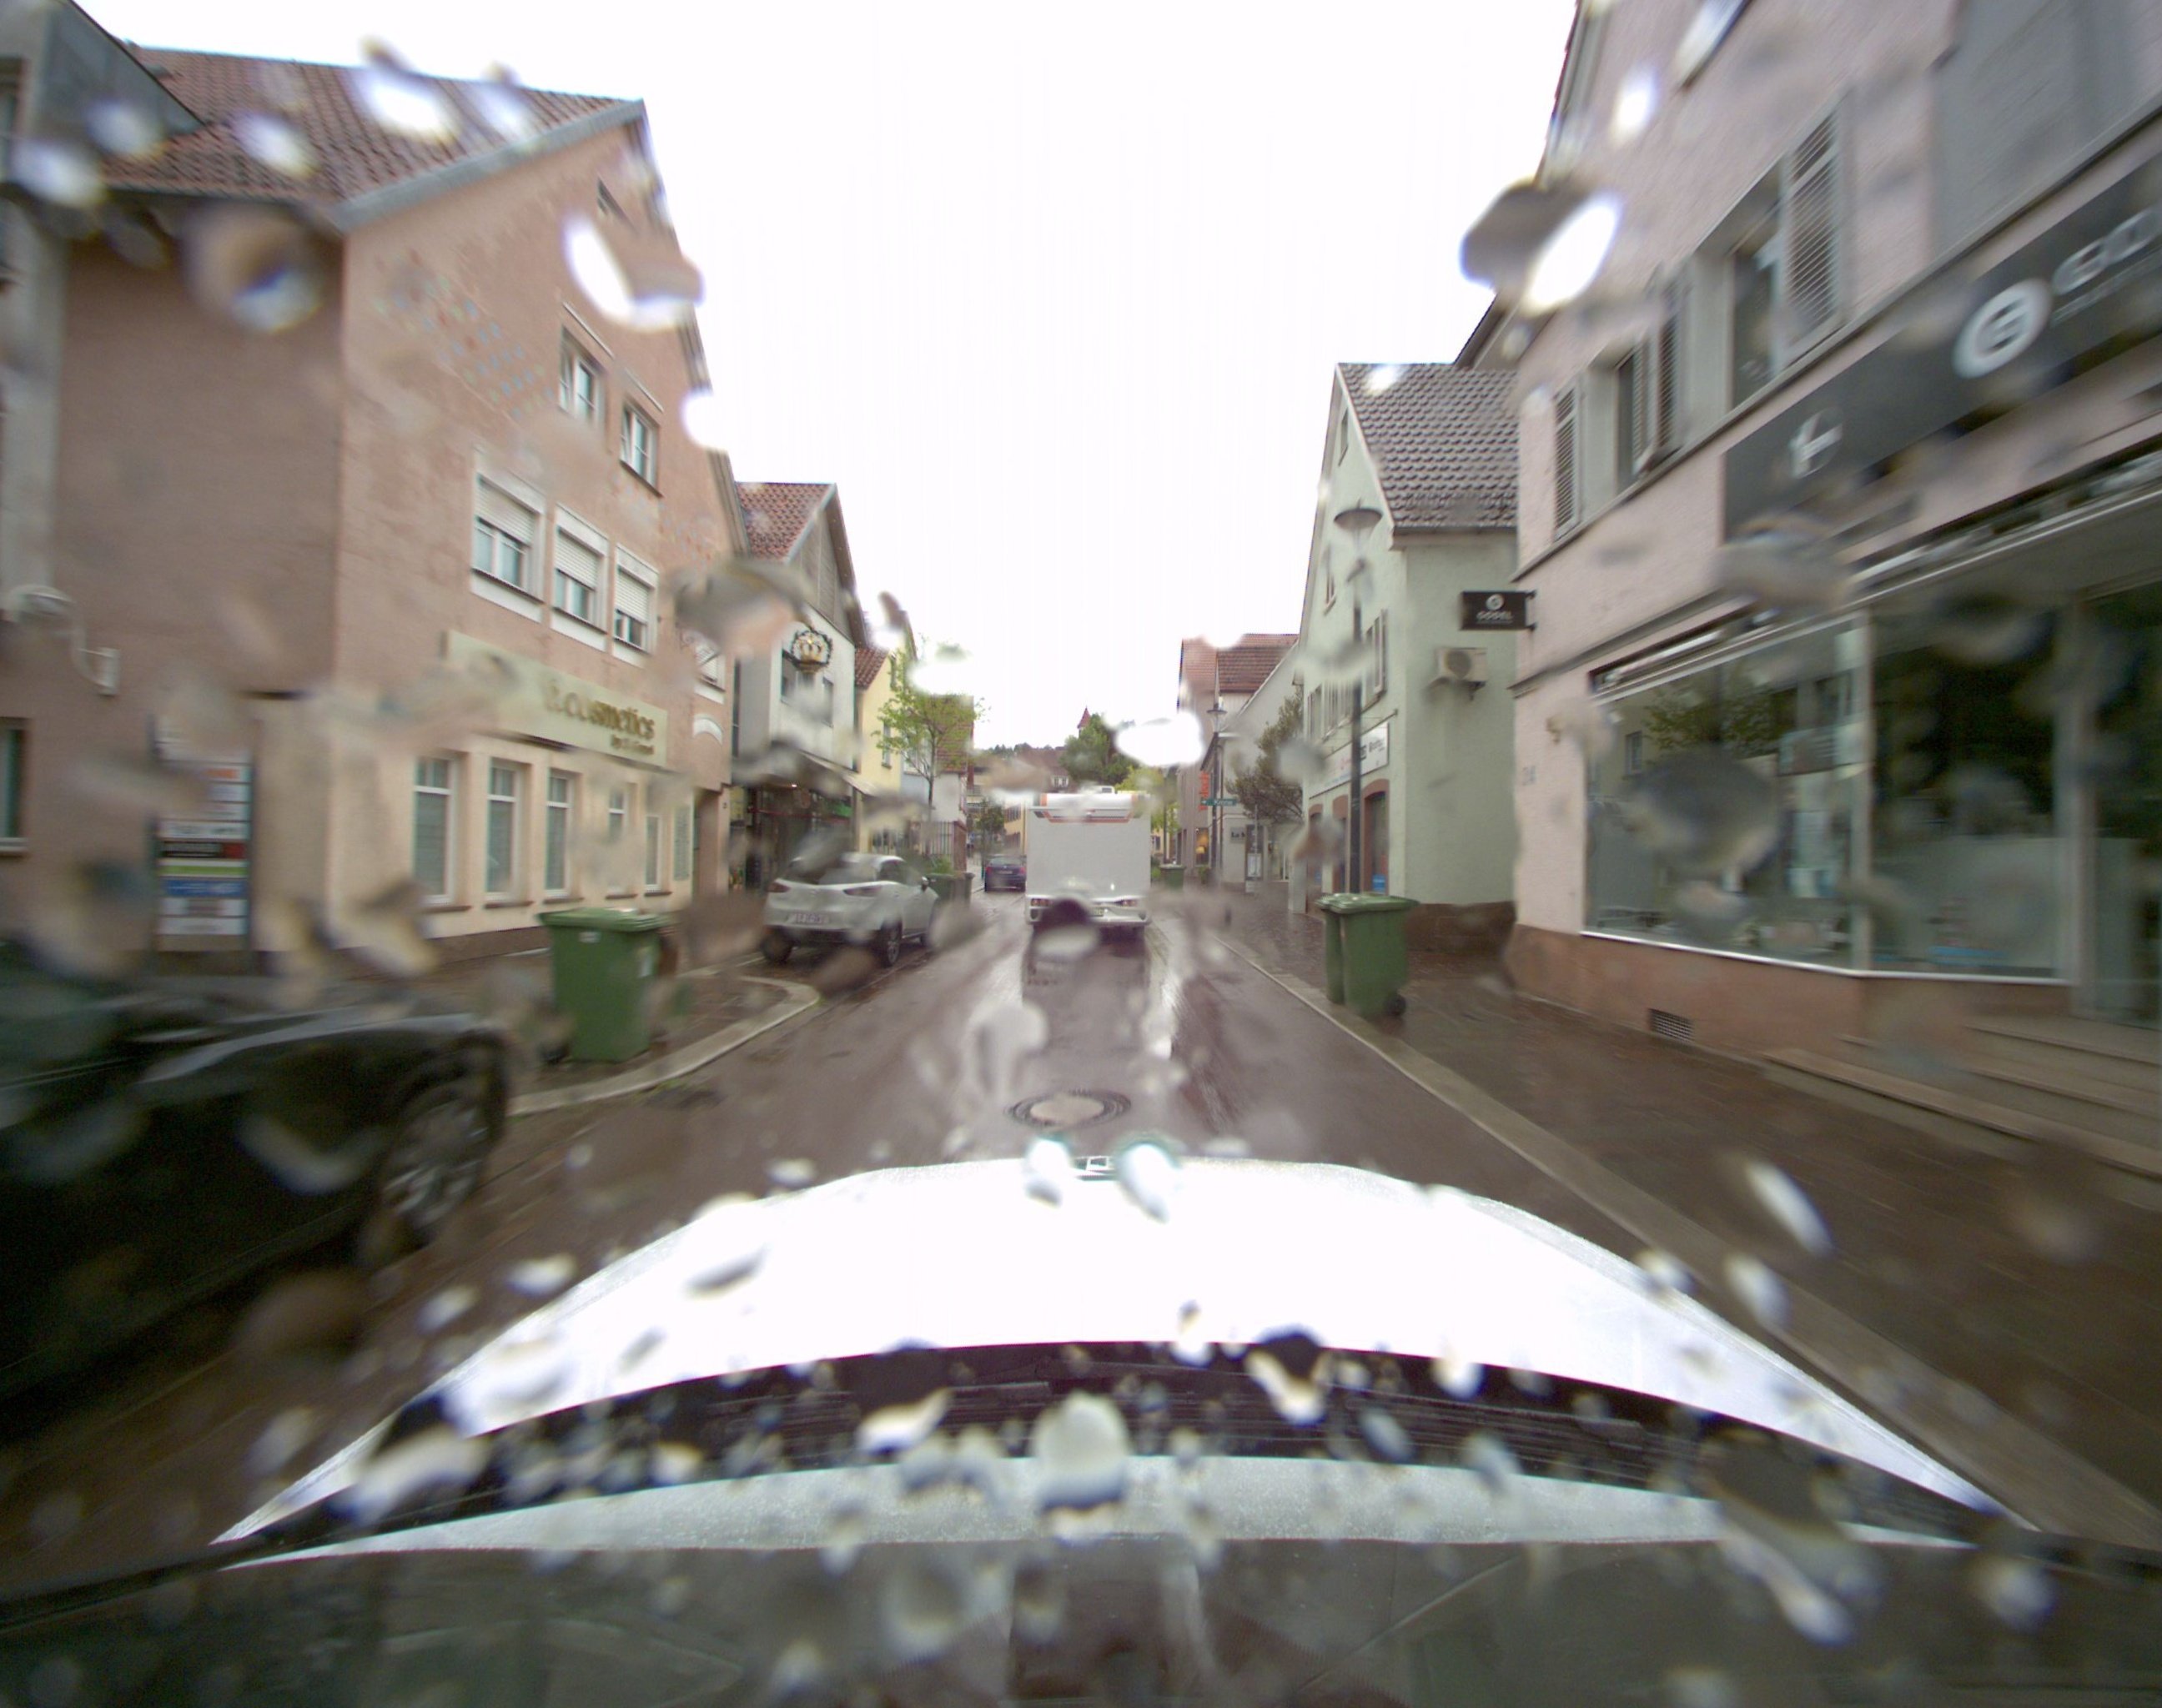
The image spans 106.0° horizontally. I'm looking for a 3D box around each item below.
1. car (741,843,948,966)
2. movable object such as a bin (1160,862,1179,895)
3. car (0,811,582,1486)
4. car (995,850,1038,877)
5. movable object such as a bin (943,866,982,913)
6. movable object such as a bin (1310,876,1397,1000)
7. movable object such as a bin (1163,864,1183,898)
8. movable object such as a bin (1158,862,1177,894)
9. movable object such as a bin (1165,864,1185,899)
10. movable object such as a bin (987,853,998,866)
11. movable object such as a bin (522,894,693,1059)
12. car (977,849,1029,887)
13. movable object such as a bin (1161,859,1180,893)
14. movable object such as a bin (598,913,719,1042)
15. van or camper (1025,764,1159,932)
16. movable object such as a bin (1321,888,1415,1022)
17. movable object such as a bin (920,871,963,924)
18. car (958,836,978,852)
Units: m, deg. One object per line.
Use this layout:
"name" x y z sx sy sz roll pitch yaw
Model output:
"car" -3.360 0.681 12.440 1.820 1.566 4.002 0 -1 2
"movable object such as a bin" 3.372 0.929 31.155 0.676 1.232 0.565 0 -1 0
"car" -3.392 0.670 1.834 1.827 1.552 4.281 0 -1 0
"car" -3.939 0.552 49.257 1.995 1.494 3.983 2 0 -13
"movable object such as a bin" -2.907 0.866 20.043 0.813 1.106 0.609 4 -1 -4
"movable object such as a bin" 2.765 0.835 8.302 0.715 1.201 0.579 0 -1 3
"movable object such as a bin" 3.394 0.979 30.035 0.656 1.245 0.542 0 -1 0
"movable object such as a bin" 3.375 0.937 31.730 0.676 1.250 0.565 0 -1 0
"movable object such as a bin" 3.394 0.981 29.448 0.656 1.238 0.621 0 -1 0
"movable object such as a bin" -6.993 0.421 64.455 0.819 1.051 0.696 1 -1 -15
"movable object such as a bin" -3.392 0.845 5.897 0.744 1.082 0.764 0 -1 3
"car" -3.229 0.561 34.172 1.990 1.472 3.994 1 0 -4
"movable object such as a bin" 3.363 0.830 30.593 0.676 1.256 0.542 0 -1 0
"movable object such as a bin" -3.394 0.973 6.580 0.653 0.955 0.562 0 -1 3
"van or camper" 0.124 -0.052 17.431 2.319 2.919 6.388 0 -1 -1
"movable object such as a bin" 2.701 0.931 7.713 0.715 1.201 0.573 0 -1 3
"movable object such as a bin" -2.959 0.922 17.333 0.813 1.106 0.609 1 -1 -4
"car" -14.587 -1.272 104.742 1.998 2.014 3.976 1 -1 -17
